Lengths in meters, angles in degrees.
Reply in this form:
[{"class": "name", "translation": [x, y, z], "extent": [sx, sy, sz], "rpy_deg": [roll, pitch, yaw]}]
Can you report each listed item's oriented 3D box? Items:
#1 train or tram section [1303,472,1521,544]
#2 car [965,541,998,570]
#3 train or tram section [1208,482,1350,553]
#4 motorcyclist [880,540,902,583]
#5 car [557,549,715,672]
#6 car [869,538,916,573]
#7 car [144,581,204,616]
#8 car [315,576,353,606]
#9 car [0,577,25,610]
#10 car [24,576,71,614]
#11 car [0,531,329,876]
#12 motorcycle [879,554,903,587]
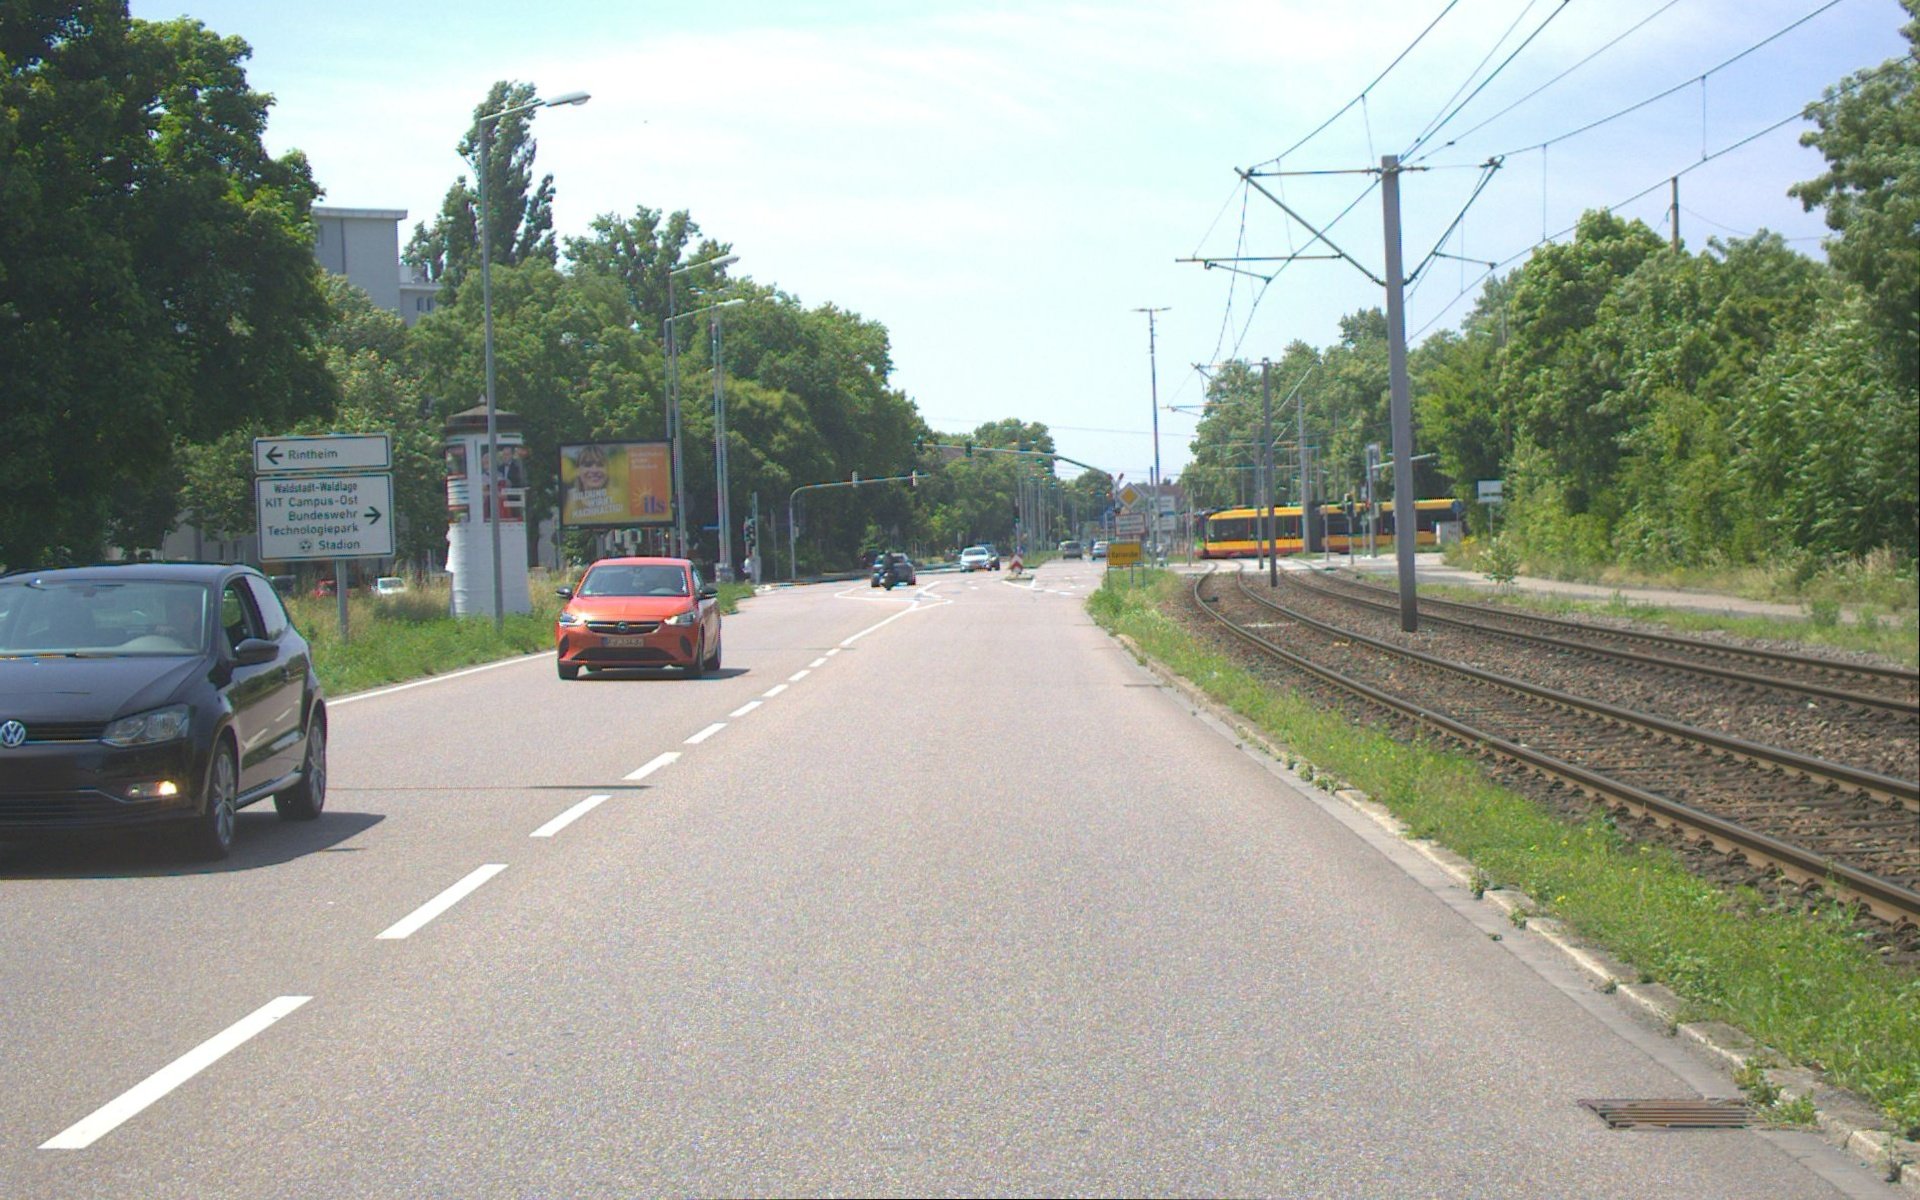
[{"class": "train or tram section", "translation": [28.837, -5.833, 219.914], "extent": [13.945, 3.906, 2.918], "rpy_deg": [-2, -2, 34]}, {"class": "car", "translation": [1.312, -2.682, 206.862], "extent": [1.784, 1.623, 3.865], "rpy_deg": [-2, 1, 3]}, {"class": "train or tram section", "translation": [21.171, -5.422, 229.244], "extent": [2.913, 3.906, 14.044], "rpy_deg": [0, -2, -24]}, {"class": "motorcyclist", "translation": [-2.669, -1.473, 132.570], "extent": [0.790, 1.637, 1.211], "rpy_deg": [-1, 1, 1]}, {"class": "car", "translation": [-3.922, 0.093, 42.106], "extent": [1.679, 1.394, 4.001], "rpy_deg": [-1, 1, -2]}, {"class": "car", "translation": [-2.927, -1.947, 149.132], "extent": [1.906, 1.493, 4.630], "rpy_deg": [-1, 1, 0]}, {"class": "car", "translation": [-39.243, -0.061, 171.589], "extent": [1.846, 1.662, 4.000], "rpy_deg": [-3, 1, -28]}, {"class": "car", "translation": [-31.679, -0.481, 173.905], "extent": [1.617, 1.459, 4.001], "rpy_deg": [-1, 1, -14]}, {"class": "car", "translation": [-46.946, -0.318, 168.750], "extent": [1.688, 1.557, 3.839], "rpy_deg": [-3, 1, -20]}, {"class": "car", "translation": [-45.105, -0.261, 169.968], "extent": [1.846, 1.705, 4.001], "rpy_deg": [-2, 2, -20]}, {"class": "car", "translation": [-4.391, 0.440, 17.658], "extent": [1.684, 1.564, 3.968], "rpy_deg": [-1, 1, -2]}, {"class": "motorcycle", "translation": [-2.661, -1.155, 132.608], "extent": [0.847, 1.251, 2.449], "rpy_deg": [-1, 1, 1]}]
